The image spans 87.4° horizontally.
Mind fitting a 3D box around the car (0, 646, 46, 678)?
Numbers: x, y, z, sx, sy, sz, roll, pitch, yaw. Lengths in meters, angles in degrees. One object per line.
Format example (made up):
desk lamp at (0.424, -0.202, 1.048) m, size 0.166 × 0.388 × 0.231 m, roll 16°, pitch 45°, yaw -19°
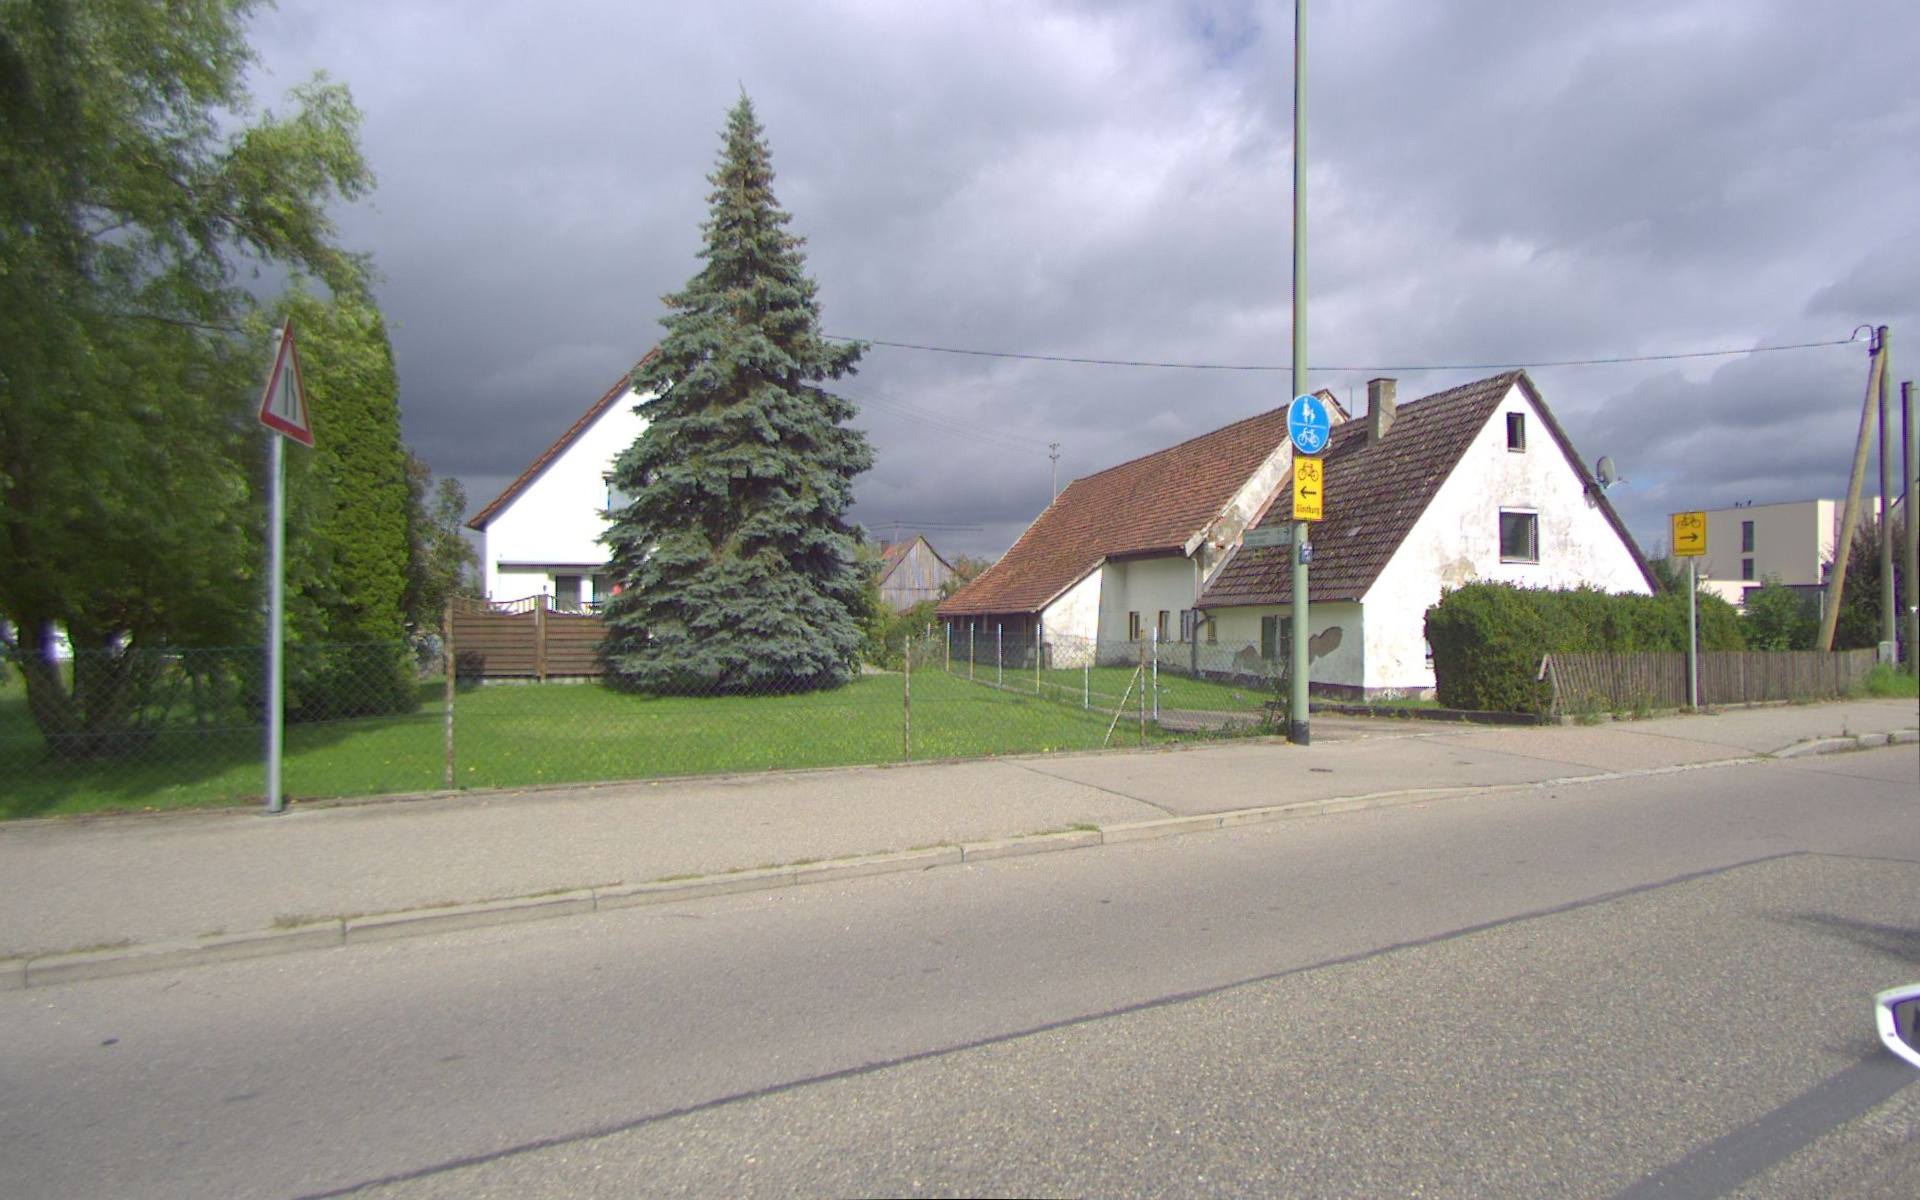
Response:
car at (-55.213, 3.542, 57.580) m, size 3.920 × 1.742 × 2.001 m, roll -1°, pitch -2°, yaw 3°
